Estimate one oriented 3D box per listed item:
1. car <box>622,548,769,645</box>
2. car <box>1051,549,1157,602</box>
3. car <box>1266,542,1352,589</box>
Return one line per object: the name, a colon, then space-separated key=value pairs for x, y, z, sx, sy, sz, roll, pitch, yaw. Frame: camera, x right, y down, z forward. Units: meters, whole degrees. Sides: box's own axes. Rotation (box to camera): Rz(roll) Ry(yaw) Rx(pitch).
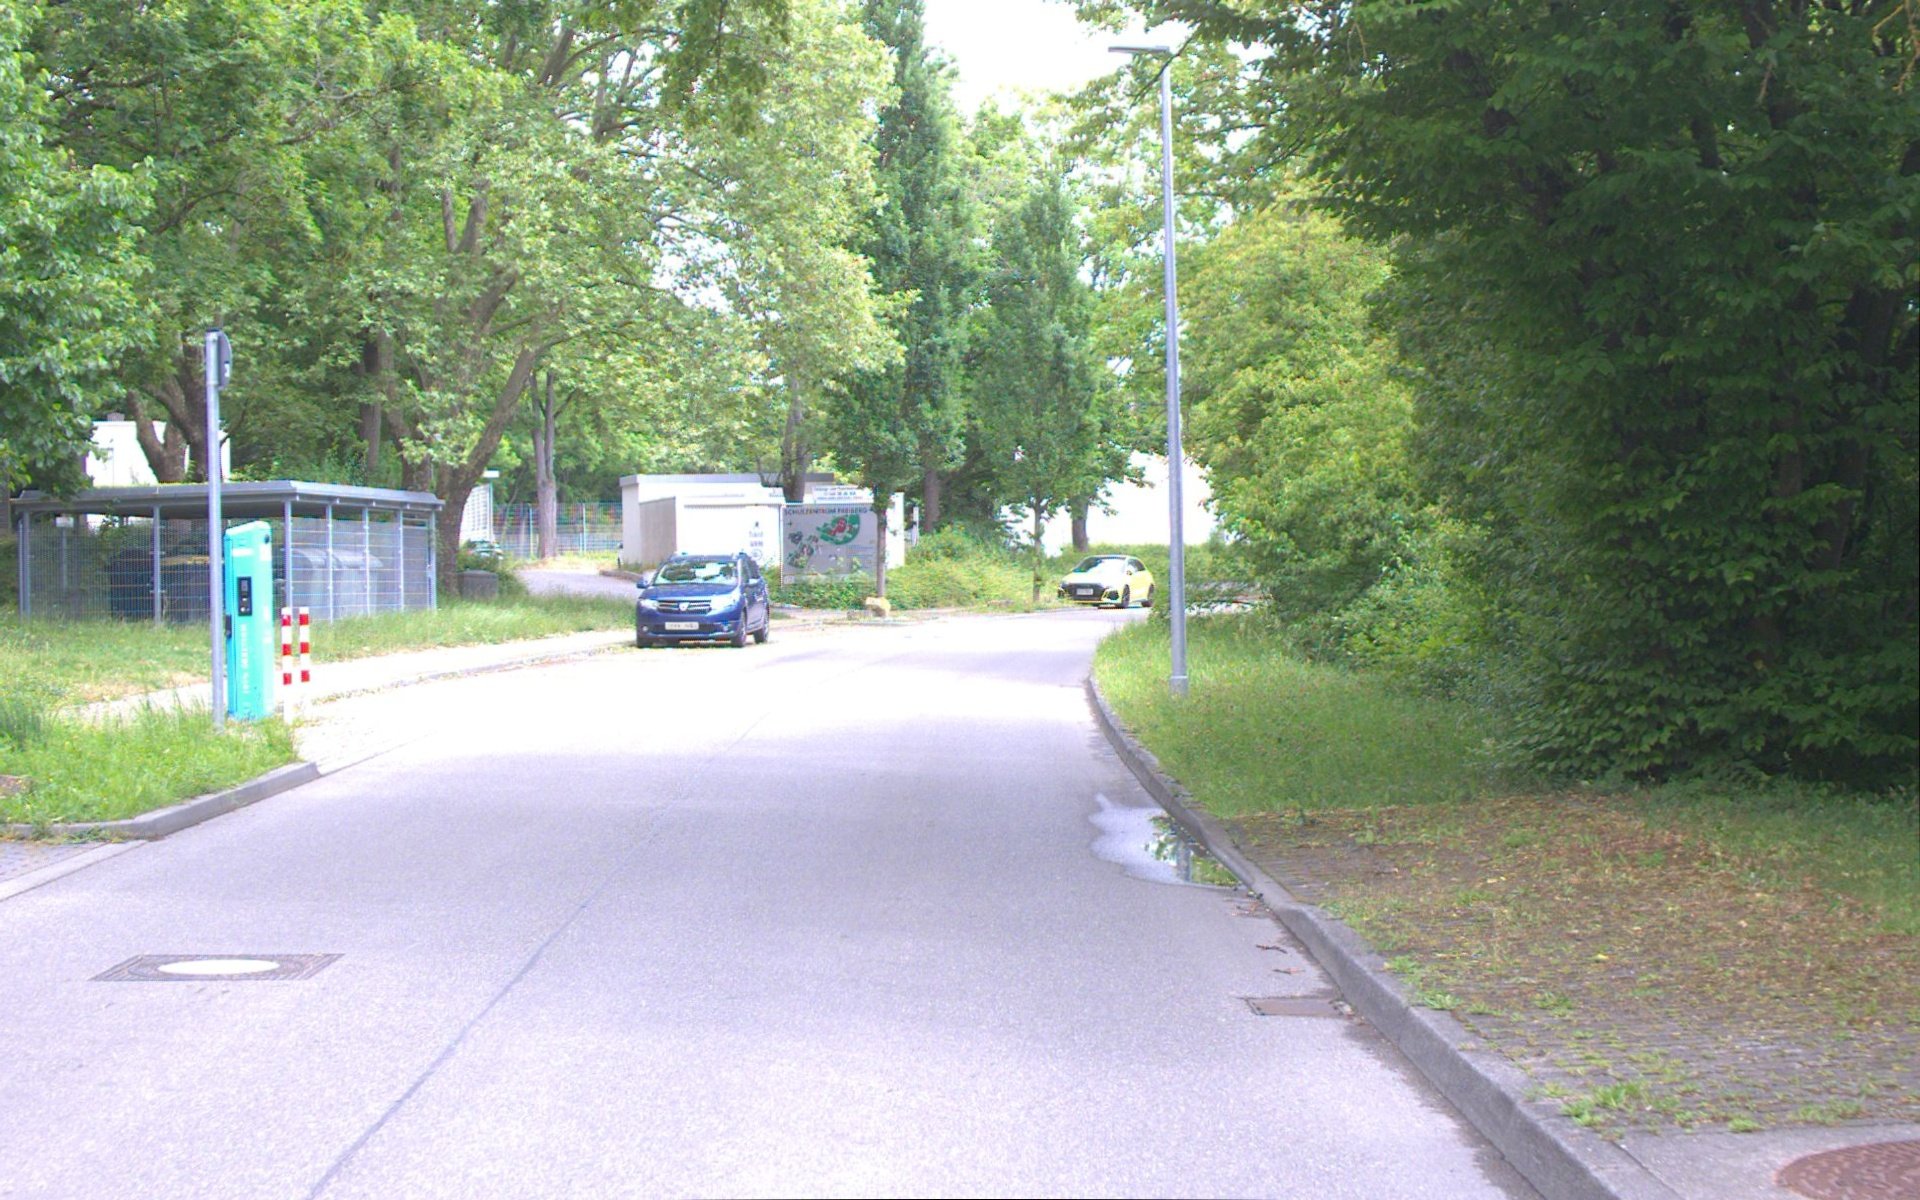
car: x=-4.244 y=-0.076 z=55.753 sx=1.680 sy=1.506 sz=4.430 roll=0 pitch=1 yaw=5
car: x=3.941 y=-0.659 z=93.216 sx=1.702 sy=1.398 sz=4.269 roll=1 pitch=0 yaw=19
car: x=11.162 y=-1.106 z=109.843 sx=1.535 sy=1.454 sz=3.715 roll=0 pitch=1 yaw=26
